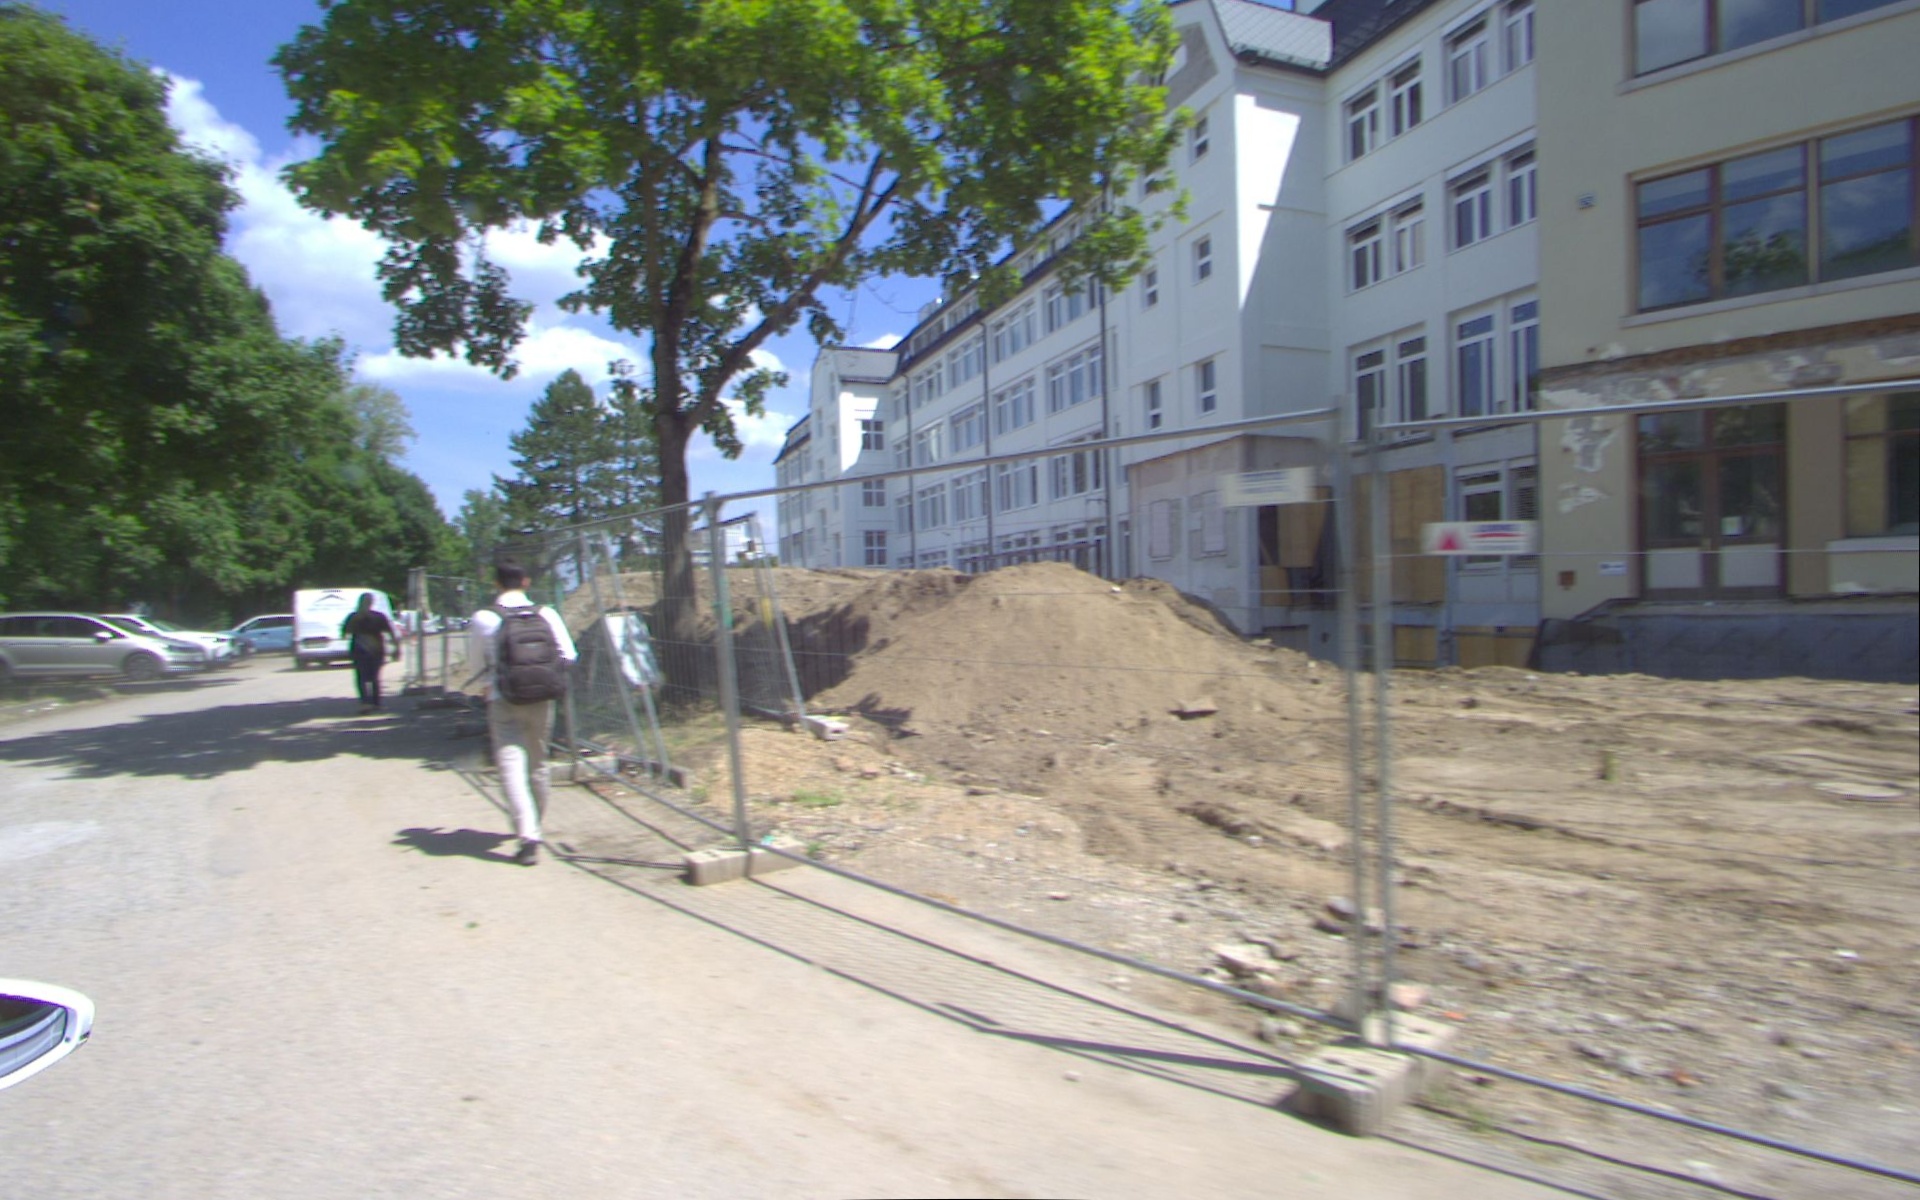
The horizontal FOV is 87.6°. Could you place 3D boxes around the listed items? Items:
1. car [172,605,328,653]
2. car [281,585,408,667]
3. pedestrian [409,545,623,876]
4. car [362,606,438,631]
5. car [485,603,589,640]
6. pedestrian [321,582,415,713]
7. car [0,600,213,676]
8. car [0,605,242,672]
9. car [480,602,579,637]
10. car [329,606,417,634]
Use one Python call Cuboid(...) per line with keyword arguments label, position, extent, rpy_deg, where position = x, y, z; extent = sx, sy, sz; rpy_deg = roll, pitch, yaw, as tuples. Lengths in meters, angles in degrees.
Cuboid(label="car", position=(-26.407, 1.047, 37.425), extent=(4.447, 1.619, 1.719), rpy_deg=(-1, 1, -24))
Cuboid(label="car", position=(-16.268, 0.637, 26.729), extent=(1.945, 1.973, 4.569), rpy_deg=(-1, 0, -20))
Cuboid(label="pedestrian", position=(-2.664, 0.583, 5.985), extent=(0.867, 1.753, 1.070), rpy_deg=(-2, 2, -41))
Cuboid(label="car", position=(-39.500, 1.275, 70.754), extent=(4.447, 1.619, 1.719), rpy_deg=(-1, 1, -24))
Cuboid(label="car", position=(-17.789, 0.883, 42.322), extent=(3.933, 1.439, 1.994), rpy_deg=(-1, 0, -22))
Cuboid(label="pedestrian", position=(-7.995, 0.607, 13.545), extent=(1.024, 1.672, 1.043), rpy_deg=(-1, 2, -32))
Cuboid(label="car", position=(-20.561, 0.898, 23.521), extent=(4.446, 1.629, 1.995), rpy_deg=(-1, -2, -23))
Cuboid(label="car", position=(-21.494, 0.941, 25.869), extent=(4.447, 1.552, 1.720), rpy_deg=(-1, 0, -24))
Cuboid(label="car", position=(-19.014, 0.836, 44.443), extent=(3.933, 1.439, 1.994), rpy_deg=(-1, 0, -22))
Cuboid(label="car", position=(-36.005, 1.221, 61.558), extent=(4.447, 1.568, 1.719), rpy_deg=(-1, 1, -24))
